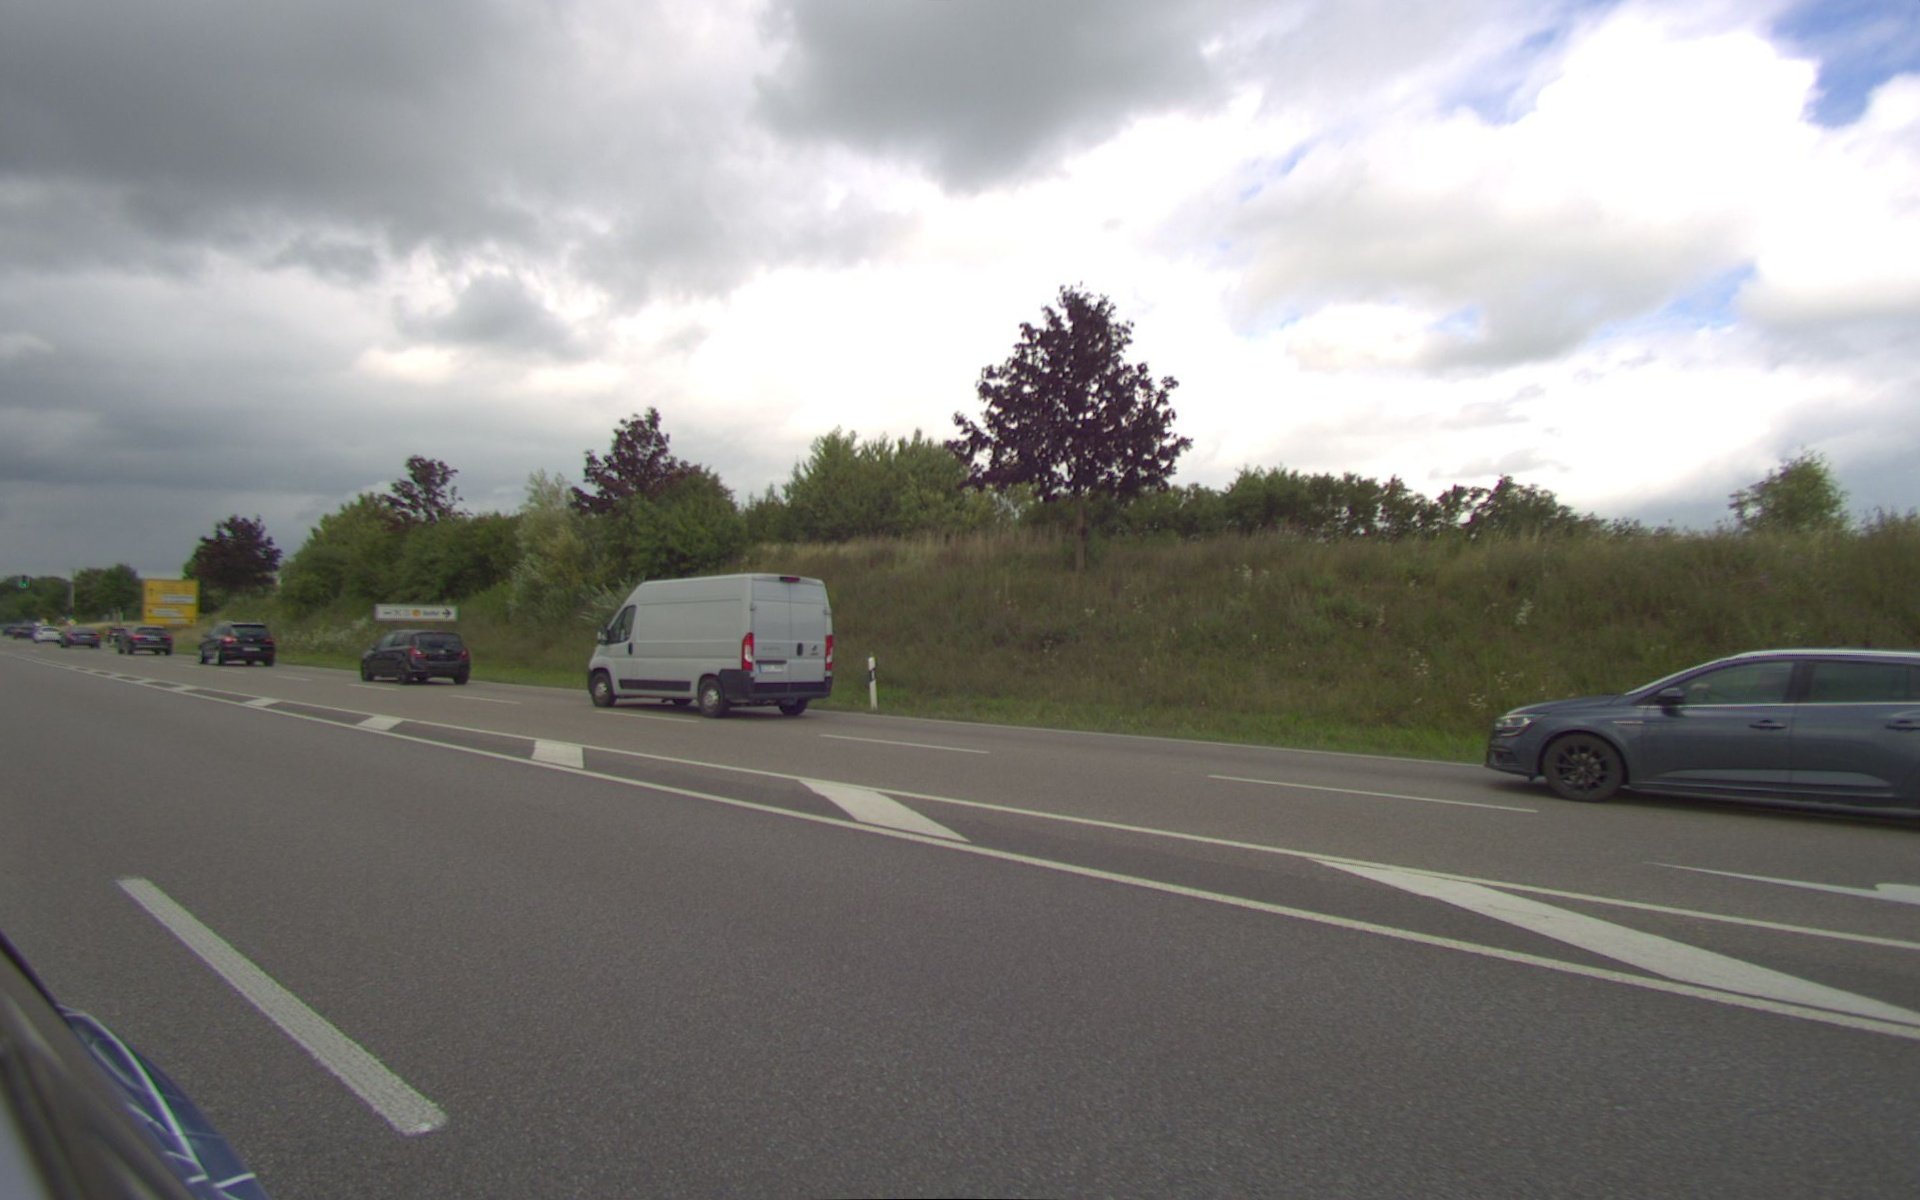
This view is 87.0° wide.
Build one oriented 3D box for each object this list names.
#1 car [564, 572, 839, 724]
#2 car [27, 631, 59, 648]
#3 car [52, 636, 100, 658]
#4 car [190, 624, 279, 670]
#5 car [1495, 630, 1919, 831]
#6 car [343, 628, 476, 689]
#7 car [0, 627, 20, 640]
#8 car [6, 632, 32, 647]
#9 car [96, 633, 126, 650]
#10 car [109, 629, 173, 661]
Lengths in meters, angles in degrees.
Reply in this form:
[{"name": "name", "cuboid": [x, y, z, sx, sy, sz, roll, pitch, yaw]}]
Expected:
[{"name": "car", "cuboid": [-4.974, 0.891, 18.977, 5.629, 2.458, 2.013, -2, -4, 39]}, {"name": "car", "cuboid": [-78.817, 3.402, 86.937, 4.055, 1.425, 1.591, -2, -3, 42]}, {"name": "car", "cuboid": [-59.738, 3.175, 68.363, 4.704, 1.416, 1.775, -2, -5, 42]}, {"name": "car", "cuboid": [-28.060, 1.825, 39.072, 4.514, 1.647, 1.775, -2, -5, 42]}, {"name": "car", "cuboid": [7.396, 1.056, 8.872, 4.544, 1.542, 1.715, -2, -4, 39]}, {"name": "car", "cuboid": [-15.135, 1.579, 27.736, 4.189, 1.542, 1.715, -2, -4, 39]}, {"name": "car", "cuboid": [-134.760, 4.764, 143.509, 4.128, 1.729, 1.831, -2, -2, 42]}, {"name": "car", "cuboid": [-101.476, 4.240, 109.125, 4.660, 1.492, 1.704, -2, -4, 44]}, {"name": "car", "cuboid": [-86.365, 4.196, 102.948, 4.399, 1.608, 1.835, -2, -4, 44]}, {"name": "car", "cuboid": [-42.569, 2.327, 52.589, 4.704, 1.523, 1.775, -2, -5, 42]}]
